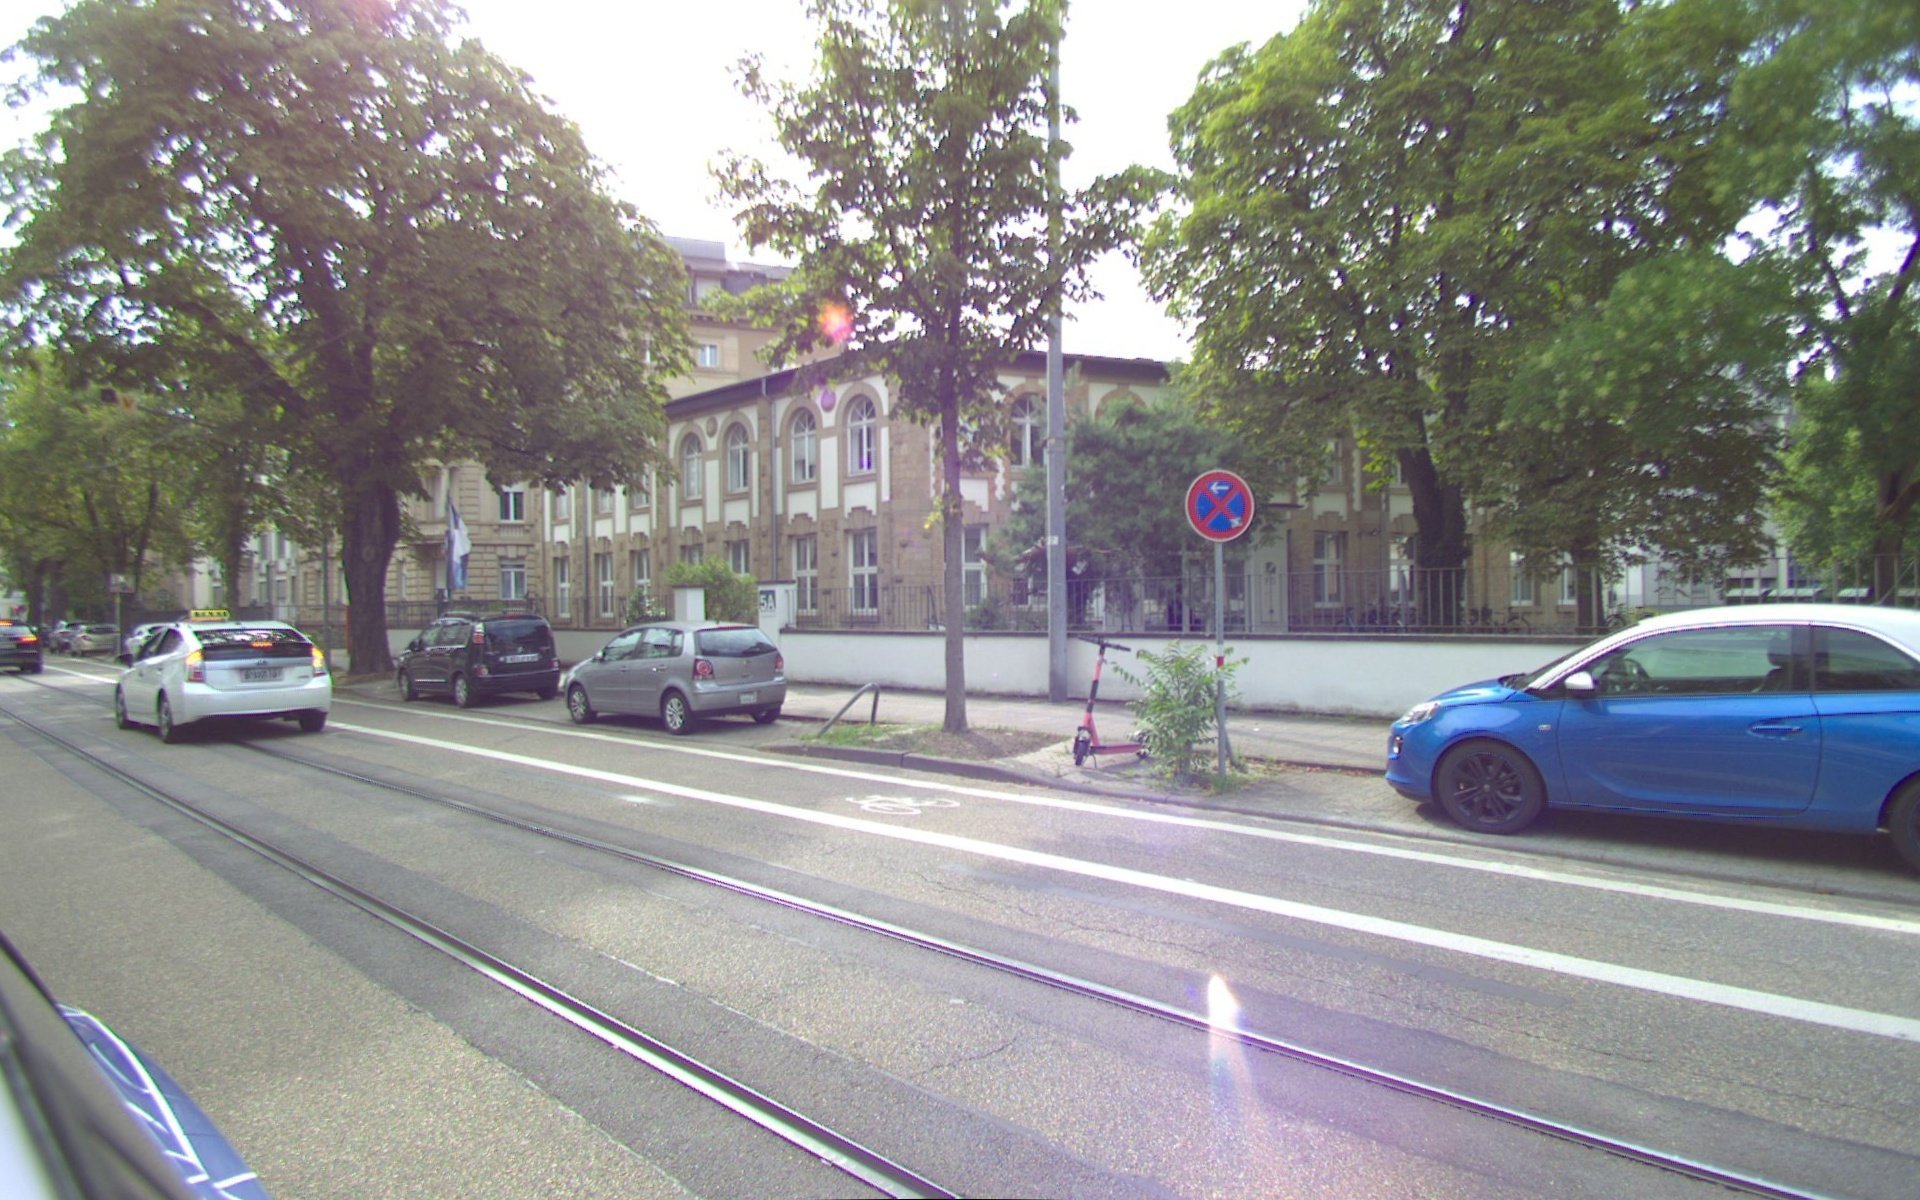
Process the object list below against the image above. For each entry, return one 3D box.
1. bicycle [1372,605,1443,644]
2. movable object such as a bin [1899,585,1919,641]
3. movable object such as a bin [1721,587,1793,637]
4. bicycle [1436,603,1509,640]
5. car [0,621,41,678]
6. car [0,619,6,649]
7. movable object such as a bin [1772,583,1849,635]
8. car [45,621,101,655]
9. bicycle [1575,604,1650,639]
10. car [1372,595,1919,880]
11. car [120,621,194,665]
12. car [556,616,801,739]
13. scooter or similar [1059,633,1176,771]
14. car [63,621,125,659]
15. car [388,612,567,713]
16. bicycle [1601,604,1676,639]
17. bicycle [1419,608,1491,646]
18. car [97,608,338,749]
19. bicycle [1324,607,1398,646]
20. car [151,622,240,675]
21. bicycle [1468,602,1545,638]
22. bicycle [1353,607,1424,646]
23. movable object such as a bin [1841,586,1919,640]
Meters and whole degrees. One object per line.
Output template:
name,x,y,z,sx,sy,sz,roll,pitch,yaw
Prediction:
bicycle,12.879,0.691,29.169,0.584,1.051,1.984,-1,0,-23
movable object such as a bin,25.388,0.338,26.146,1.103,1.441,1.288,0,0,-21
movable object such as a bin,23.787,0.359,30.223,1.103,1.441,1.288,0,0,-21
bicycle,15.171,0.627,30.000,0.584,1.051,1.984,-1,0,-23
car,-29.400,1.478,30.664,4.332,1.624,1.828,-2,-1,41
car,-88.703,3.092,89.631,1.994,2.620,5.868,-1,-1,33
movable object such as a bin,24.298,0.262,28.927,1.103,1.441,1.288,0,0,-21
car,-45.423,1.908,51.802,3.904,1.646,1.637,-2,-1,41
bicycle,20.620,0.666,32.042,0.584,1.051,1.984,-1,0,-23
car,4.782,0.733,6.529,3.600,1.476,1.611,-2,-1,41
car,-31.896,1.689,40.166,3.904,1.613,1.637,-2,-1,41
car,-4.015,0.999,14.196,3.572,1.476,1.611,-2,-1,41
scooter or similar,1.481,0.930,9.495,0.988,1.176,0.370,-3,0,-25
car,-40.074,1.838,46.809,3.904,1.646,1.637,-2,-1,41
car,-8.920,1.084,18.595,3.723,1.646,1.637,-2,-1,41
bicycle,21.838,0.681,32.594,0.584,1.051,1.984,-1,0,-23
bicycle,14.479,0.783,29.661,0.584,1.051,1.984,-1,0,-23
car,-10.196,0.954,13.785,4.331,1.624,1.714,-1,-1,41
bicycle,11.305,0.742,28.599,0.584,1.051,1.984,-1,0,-30
car,-25.677,1.592,33.959,3.904,1.646,1.637,-2,-1,41
bicycle,16.692,0.608,30.965,1.978,1.051,0.586,-1,0,44
bicycle,12.183,0.731,28.836,0.584,1.051,1.984,-1,0,-23
movable object such as a bin,25.009,0.343,27.466,1.103,1.441,1.288,0,0,-21
